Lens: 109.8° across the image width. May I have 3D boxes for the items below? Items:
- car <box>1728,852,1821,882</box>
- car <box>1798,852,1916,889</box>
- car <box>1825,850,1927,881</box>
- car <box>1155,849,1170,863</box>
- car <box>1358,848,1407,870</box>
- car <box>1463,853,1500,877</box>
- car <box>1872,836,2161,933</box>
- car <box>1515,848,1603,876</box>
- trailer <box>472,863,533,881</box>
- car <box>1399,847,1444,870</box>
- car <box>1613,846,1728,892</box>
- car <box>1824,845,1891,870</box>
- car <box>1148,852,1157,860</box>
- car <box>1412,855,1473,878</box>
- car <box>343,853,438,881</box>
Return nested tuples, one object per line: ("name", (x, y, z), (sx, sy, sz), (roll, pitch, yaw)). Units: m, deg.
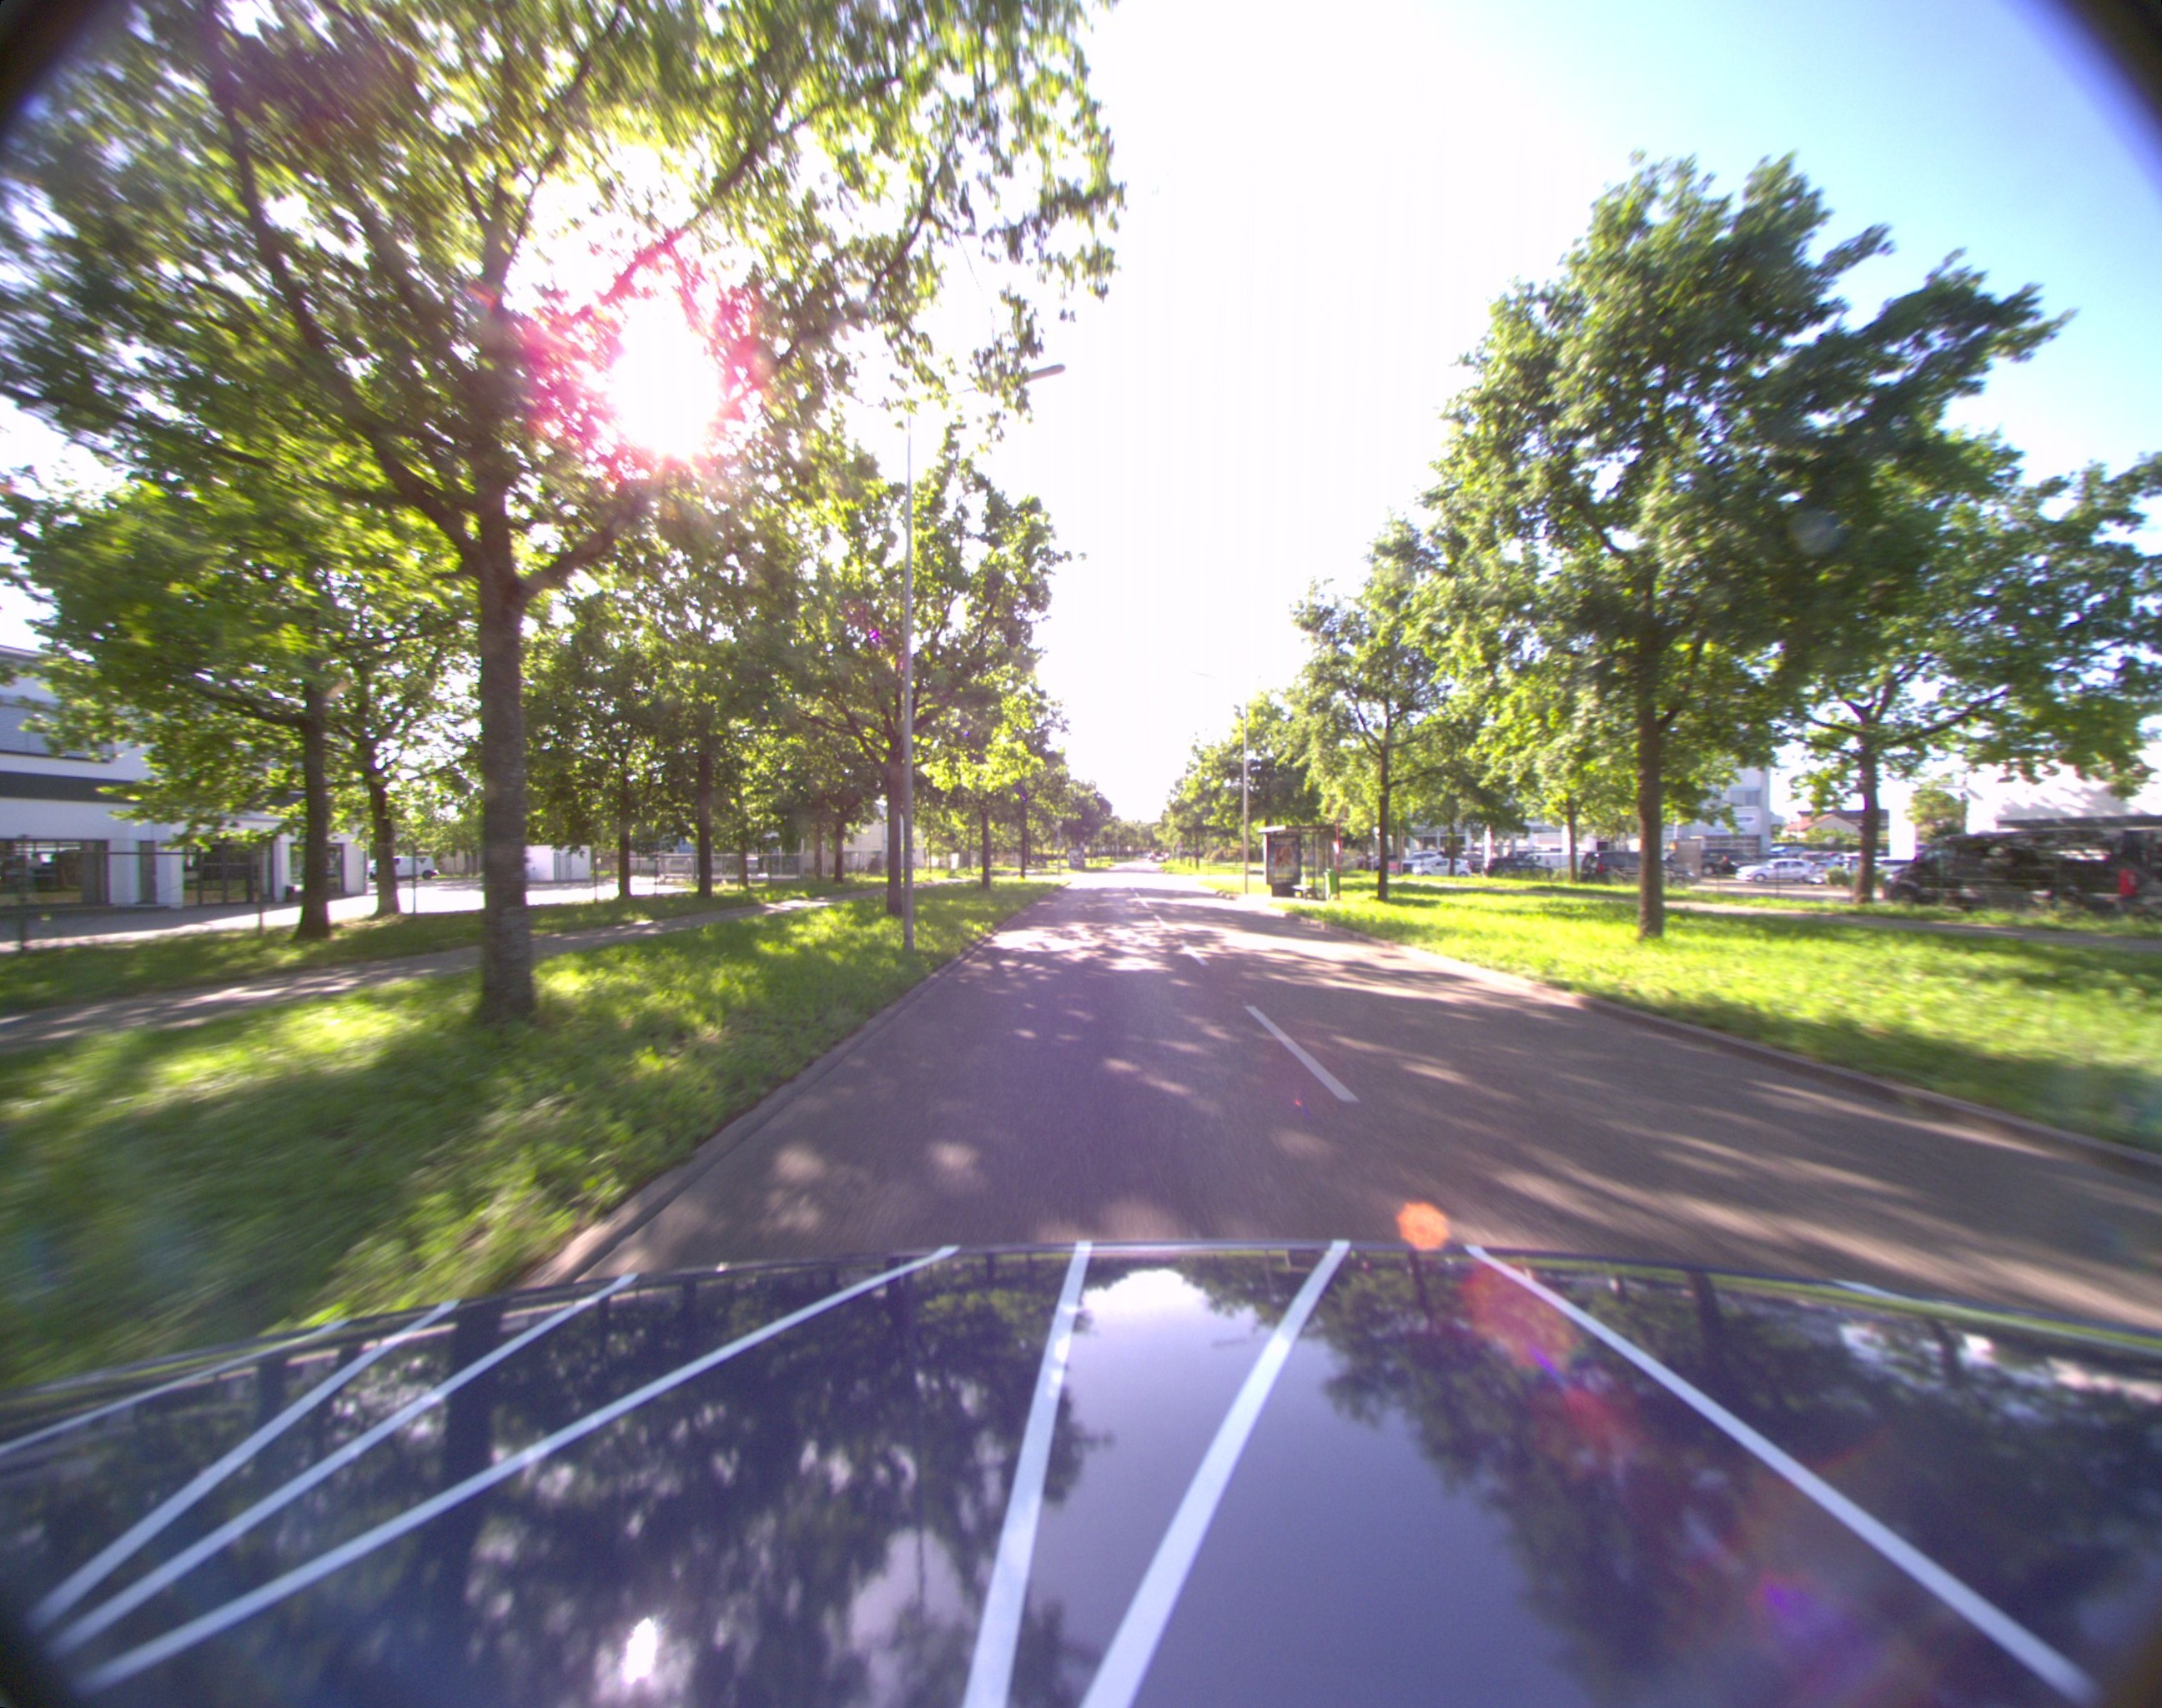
("car", (45.471, 0.845, 49.926), (3.992, 1.827, 2.002), (-2, 1, 18))
("car", (42.057, 0.907, 41.271), (3.992, 1.827, 2.002), (-2, 1, 17))
("car", (50.409, 0.720, 48.257), (3.992, 1.827, 2.002), (-2, 1, 18))
("car", (11.834, 0.263, 110.227), (1.997, 2.002, 4.002), (-1, 0, 7))
("car", (28.381, 0.467, 71.560), (4.004, 1.827, 1.996), (-2, 1, -22))
("car", (34.054, 0.887, 64.542), (1.994, 1.827, 4.008), (-2, 1, 39))
("car", (24.432, 0.666, 19.709), (1.998, 2.162, 5.671), (-1, 0, 1))
("car", (33.745, 0.561, 53.812), (5.039, 1.827, 2.003), (-2, 1, 24))
("trailer", (-41.336, 1.278, 54.304), (3.589, 1.259, 1.733), (-1, 0, 18))
("car", (29.832, 0.423, 66.560), (4.007, 1.827, 1.995), (-3, 1, -39))
("car", (27.059, 0.673, 35.061), (3.989, 2.002, 2.004), (-1, 0, 31))
("car", (58.142, 0.222, 56.996), (1.995, 1.672, 4.005), (-2, 1, 21))
("car", (16.614, 0.438, 176.965), (1.997, 2.002, 4.002), (-1, 0, 7))
("car", (26.651, 0.917, 56.160), (3.885, 1.493, 2.003), (-2, 1, 22))
("car", (-54.288, 0.978, 59.860), (1.996, 2.002, 5.121), (-2, 1, 18))
